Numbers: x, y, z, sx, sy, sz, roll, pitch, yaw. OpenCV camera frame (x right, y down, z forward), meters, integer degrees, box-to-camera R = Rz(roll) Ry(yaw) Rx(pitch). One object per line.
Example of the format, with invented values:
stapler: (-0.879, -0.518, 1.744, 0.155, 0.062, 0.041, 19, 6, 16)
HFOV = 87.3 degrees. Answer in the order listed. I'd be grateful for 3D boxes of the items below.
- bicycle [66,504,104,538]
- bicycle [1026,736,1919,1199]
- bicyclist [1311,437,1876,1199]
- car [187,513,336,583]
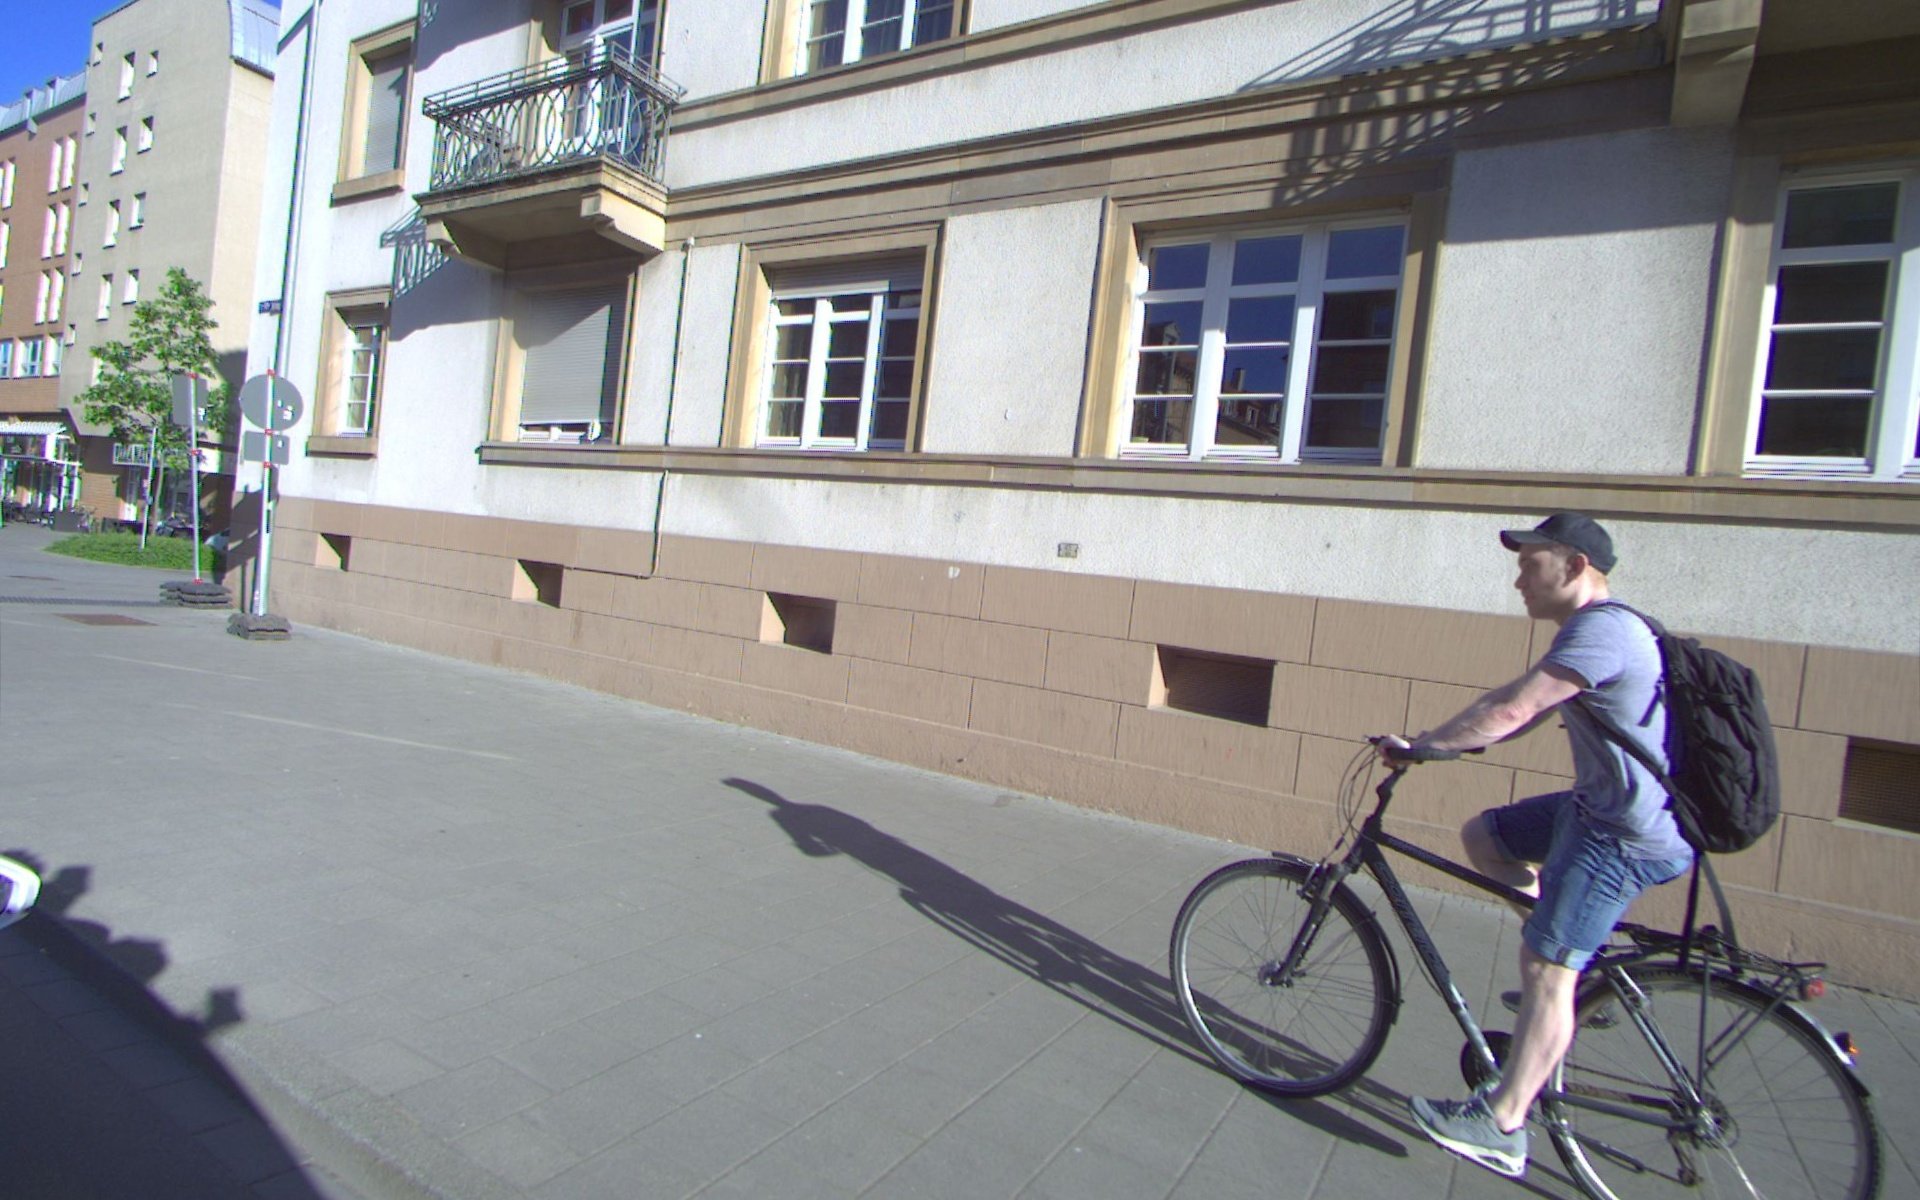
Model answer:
bicycle: (-34.943, -3.153, 40.179, 1.510, 1.185, 0.614, 7, 2, 29)
bicycle: (1.359, 1.050, 2.725, 2.161, 0.965, 0.768, 7, 1, 31)
bicyclist: (1.573, 0.545, 2.635, 0.922, 1.785, 0.733, 7, 1, 31)
car: (-20.798, -1.554, 29.972, 3.765, 1.491, 1.669, 7, -1, 20)
